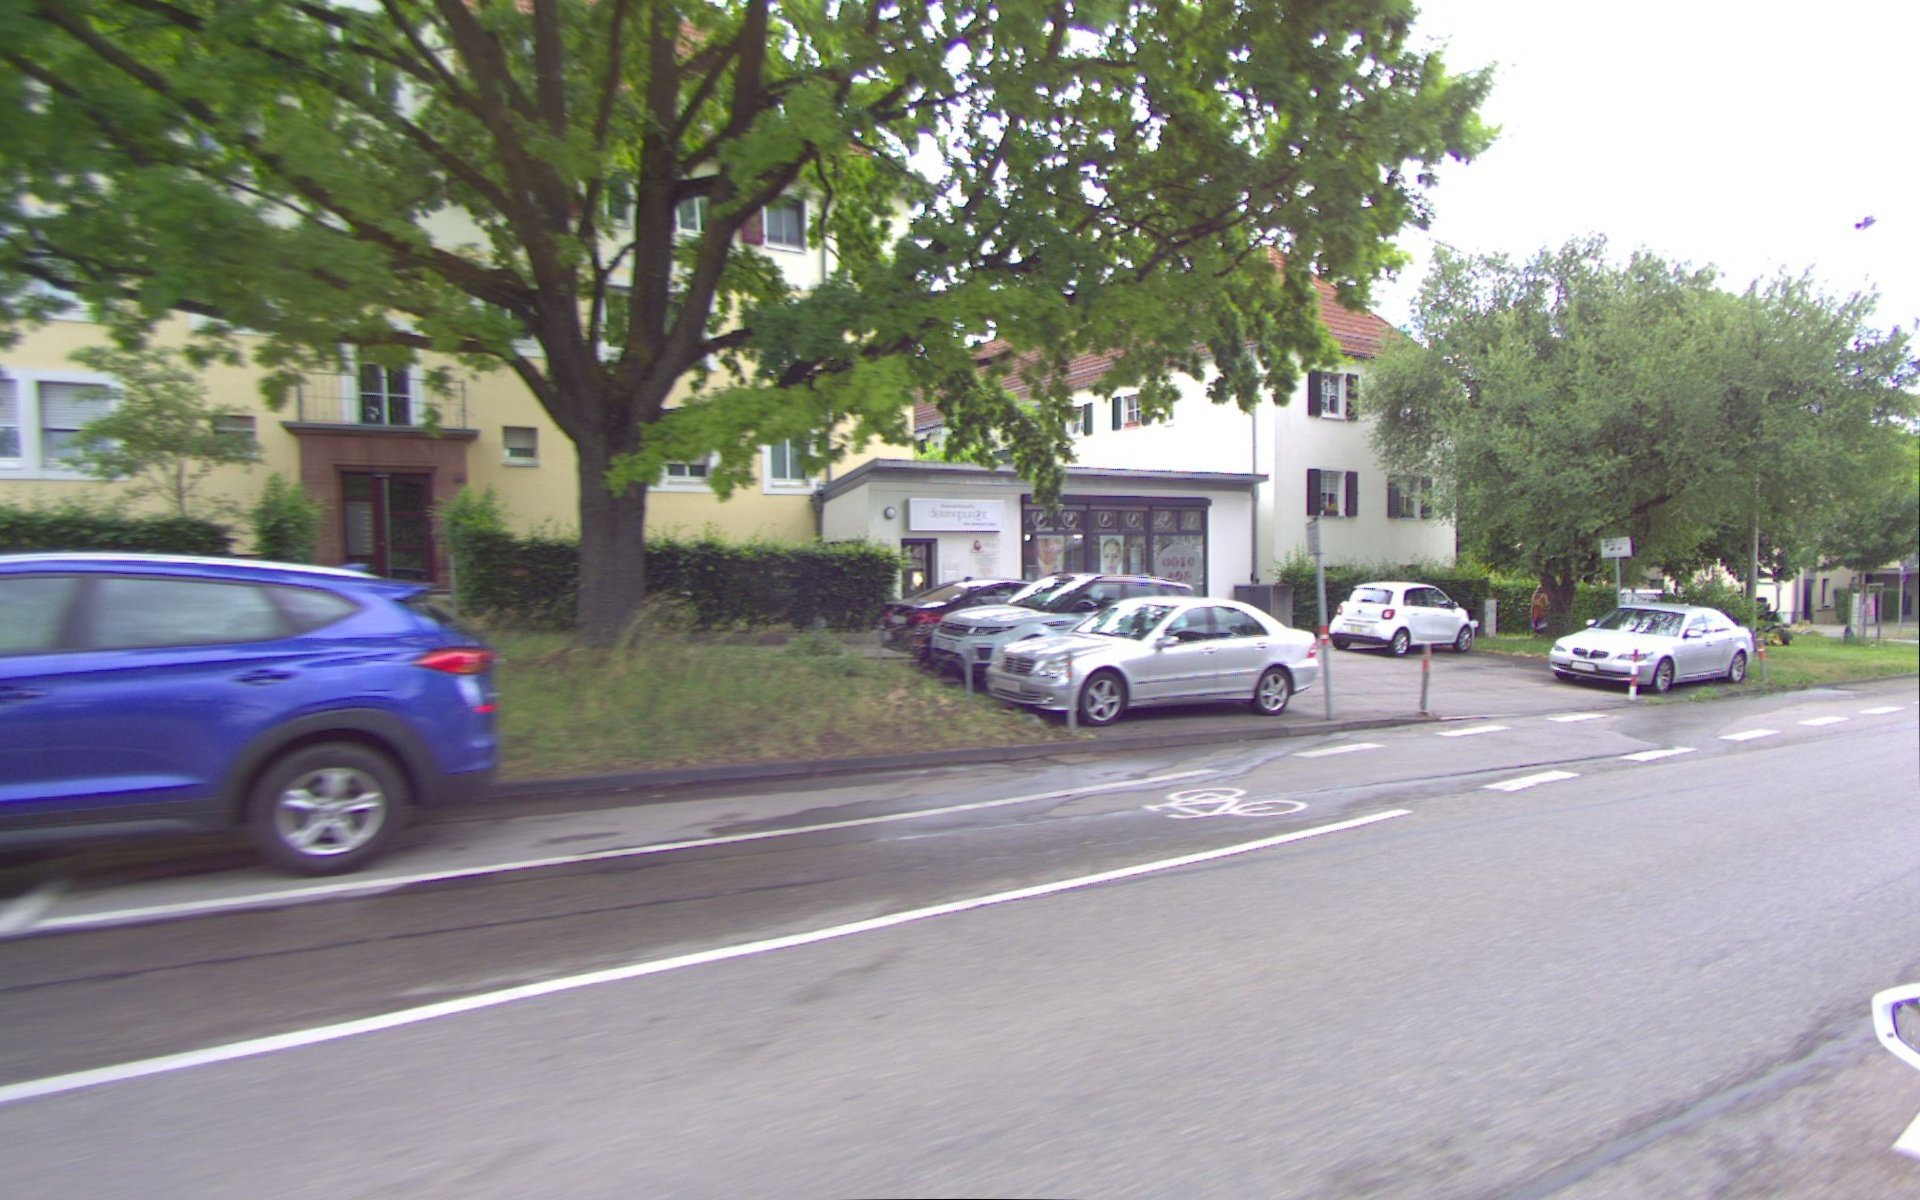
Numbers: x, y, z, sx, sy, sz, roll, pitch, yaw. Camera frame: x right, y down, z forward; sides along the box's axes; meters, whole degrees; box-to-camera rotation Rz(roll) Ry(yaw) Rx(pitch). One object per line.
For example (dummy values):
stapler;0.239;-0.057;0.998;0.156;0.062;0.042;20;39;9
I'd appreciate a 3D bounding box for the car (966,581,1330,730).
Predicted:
car;2.396;0.605;12.526;4.339;1.556;1.753;1;1;-30

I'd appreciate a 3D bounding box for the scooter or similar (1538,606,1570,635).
scooter or similar;18.122;0.618;30.642;1.188;0.855;0.324;1;2;-32

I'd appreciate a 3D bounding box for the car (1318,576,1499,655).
car;10.411;0.338;23.225;4.241;1.655;1.751;1;2;-32

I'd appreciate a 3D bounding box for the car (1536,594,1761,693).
car;13.200;0.768;19.178;4.699;1.655;1.752;1;2;-31

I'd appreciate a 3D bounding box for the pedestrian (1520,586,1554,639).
pedestrian;18.399;0.387;32.028;0.821;1.635;0.625;0;2;-35

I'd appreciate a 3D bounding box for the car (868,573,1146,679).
car;0.831;0.390;16.793;4.390;1.490;1.752;1;4;-32

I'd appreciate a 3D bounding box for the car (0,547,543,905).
car;-4.738;0.553;5.338;4.482;1.634;1.706;0;2;-31

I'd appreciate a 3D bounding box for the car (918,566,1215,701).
car;1.564;0.427;14.530;3.952;1.655;1.753;1;4;-30

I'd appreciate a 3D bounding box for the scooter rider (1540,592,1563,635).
scooter rider;18.039;0.396;30.621;0.553;1.293;0.349;1;2;-32

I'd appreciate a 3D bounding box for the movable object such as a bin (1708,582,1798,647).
movable object such as a bin;24.658;0.443;31.204;2.991;1.929;1.210;1;2;-32

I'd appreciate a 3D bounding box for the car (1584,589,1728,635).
car;31.422;0.490;45.531;1.979;1.838;4.961;1;2;-34
